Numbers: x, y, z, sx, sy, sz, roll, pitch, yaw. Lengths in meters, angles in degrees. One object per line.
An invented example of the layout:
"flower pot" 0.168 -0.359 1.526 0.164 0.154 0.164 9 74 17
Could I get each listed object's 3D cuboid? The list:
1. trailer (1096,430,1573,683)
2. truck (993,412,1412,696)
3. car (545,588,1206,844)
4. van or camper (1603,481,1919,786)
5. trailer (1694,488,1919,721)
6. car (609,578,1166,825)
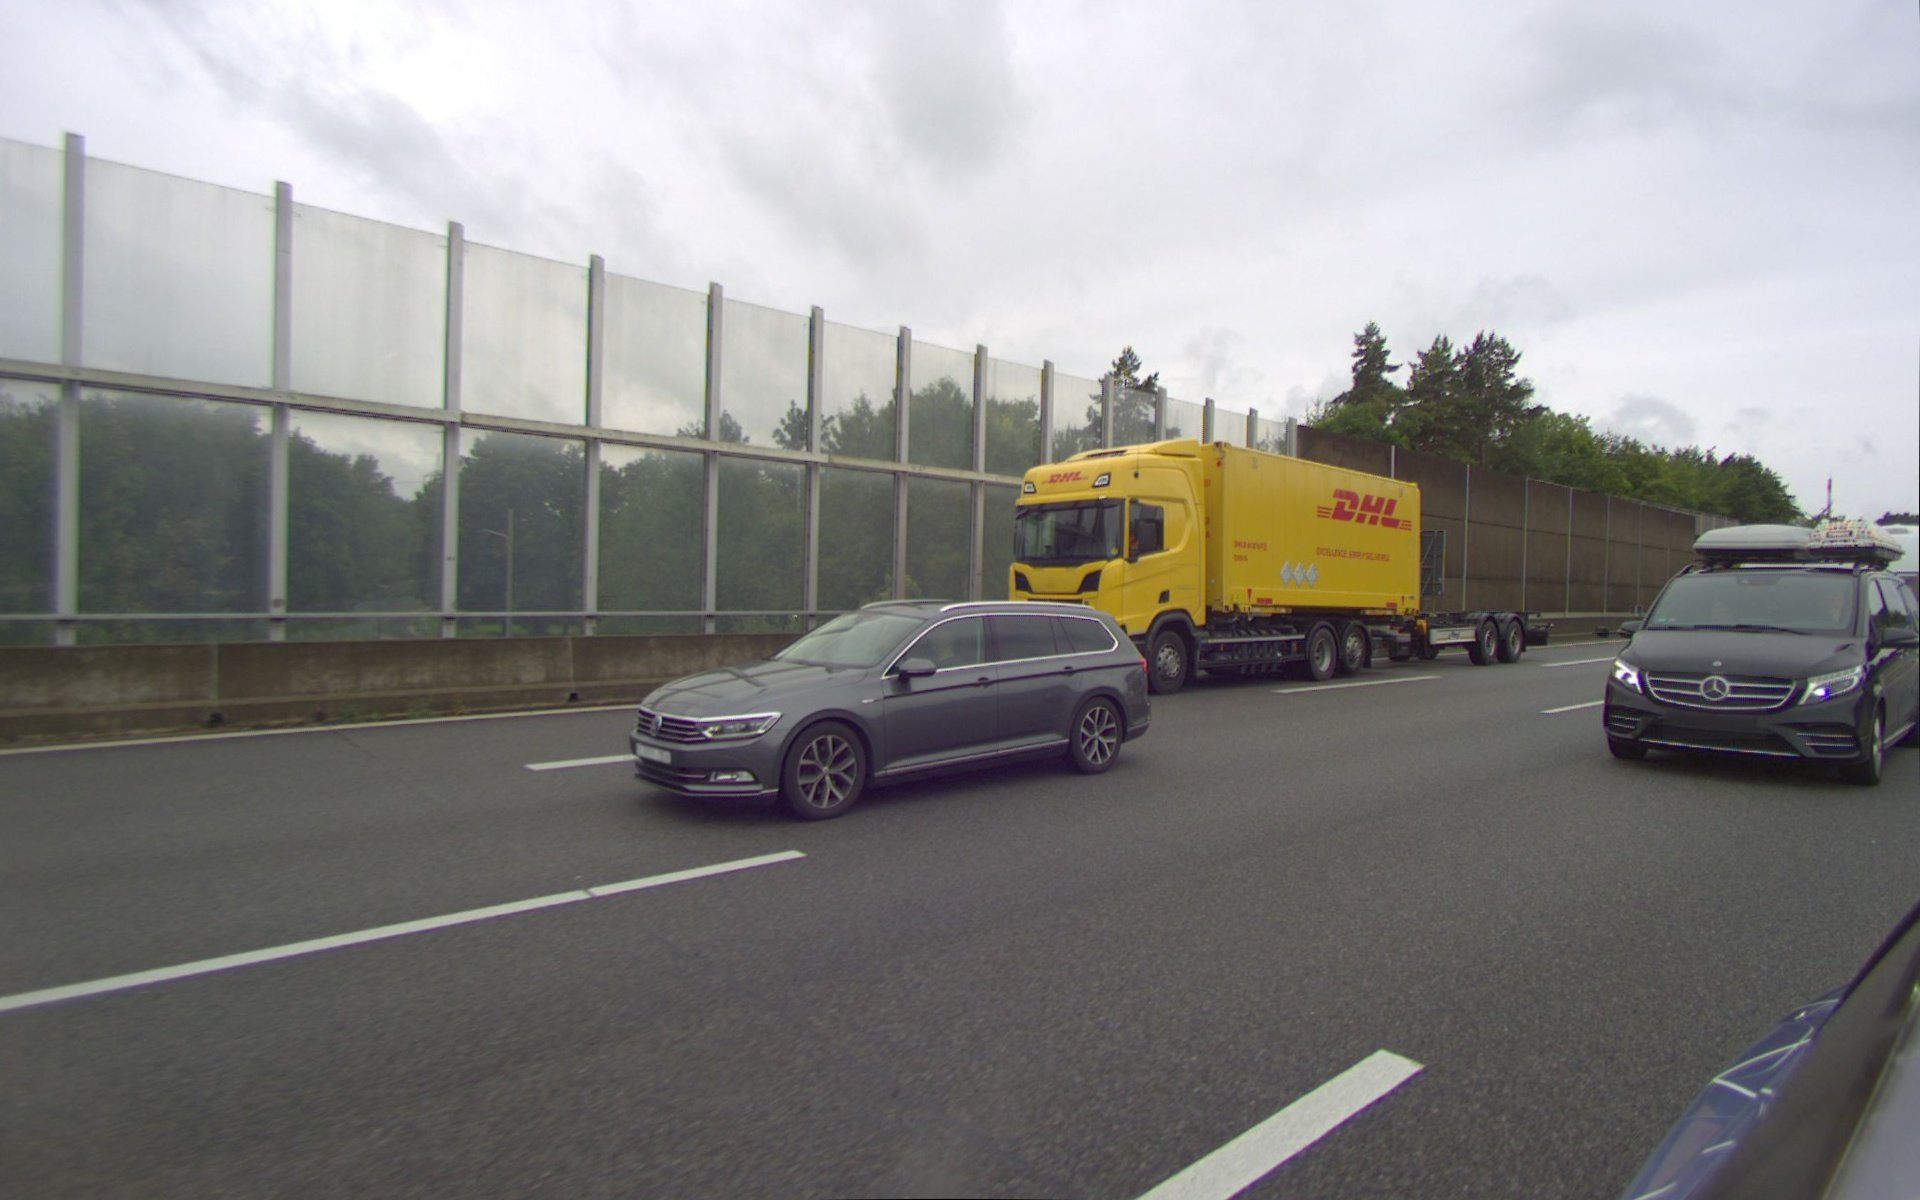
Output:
"trailer" 9.389 -0.716 22.525 16.399 4.003 2.654 0 0 -42
"truck" 4.825 -0.669 18.374 9.166 4.008 2.689 0 0 -42
"car" -0.367 0.674 8.168 5.196 1.445 1.943 0 -1 -41
"van or camper" 8.470 0.250 10.175 5.580 2.298 1.894 0 0 -41
"trailer" 13.282 0.051 14.634 7.380 2.675 2.726 0 1 -41
"car" -0.354 0.603 8.154 4.393 1.475 1.665 0 0 -42
